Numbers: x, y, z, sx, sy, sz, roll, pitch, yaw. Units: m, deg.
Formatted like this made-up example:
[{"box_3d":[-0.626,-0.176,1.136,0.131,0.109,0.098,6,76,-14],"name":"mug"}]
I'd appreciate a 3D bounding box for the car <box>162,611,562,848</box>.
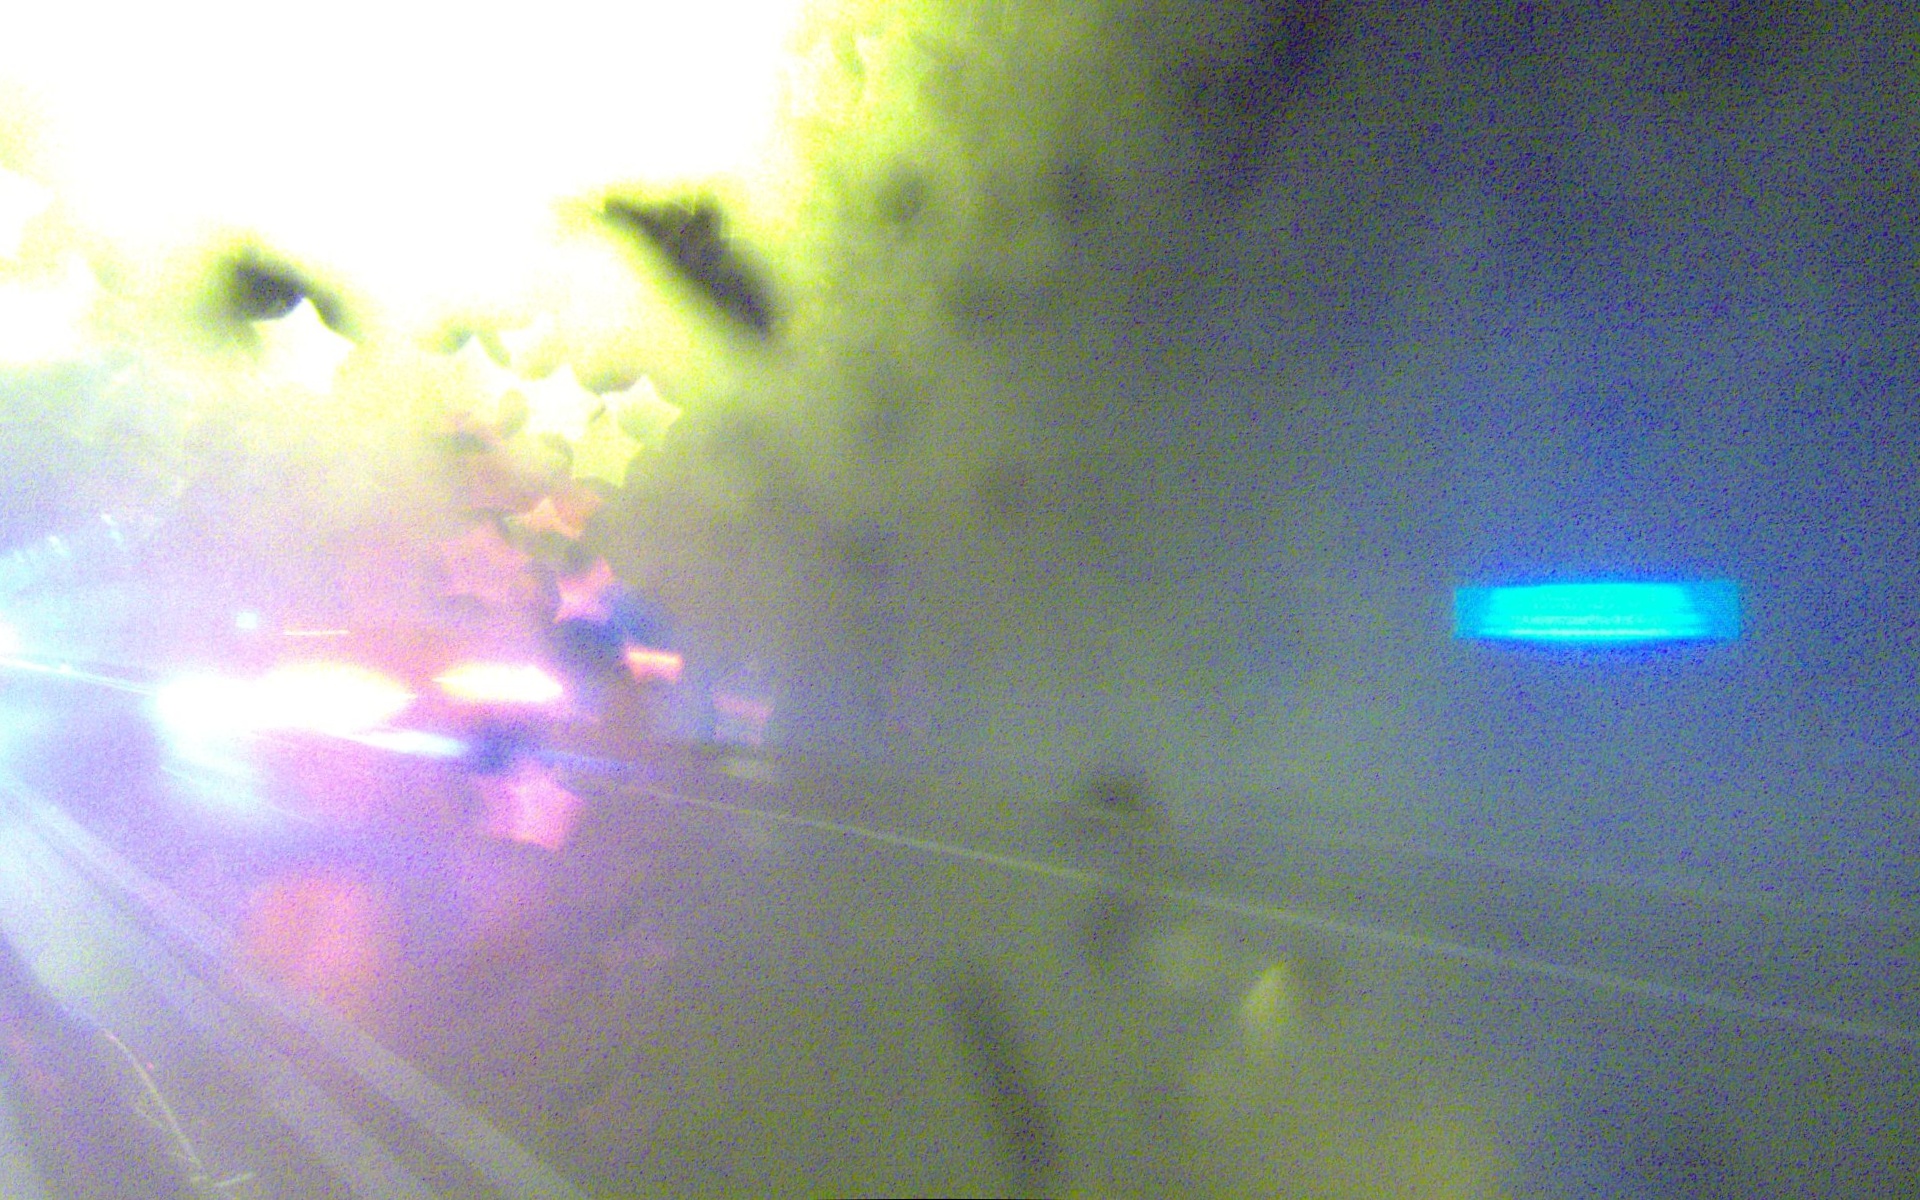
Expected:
[{"box_3d":[-5.084,0.874,8.401,3.834,1.452,1.717,-1,1,41],"name":"car"}]
